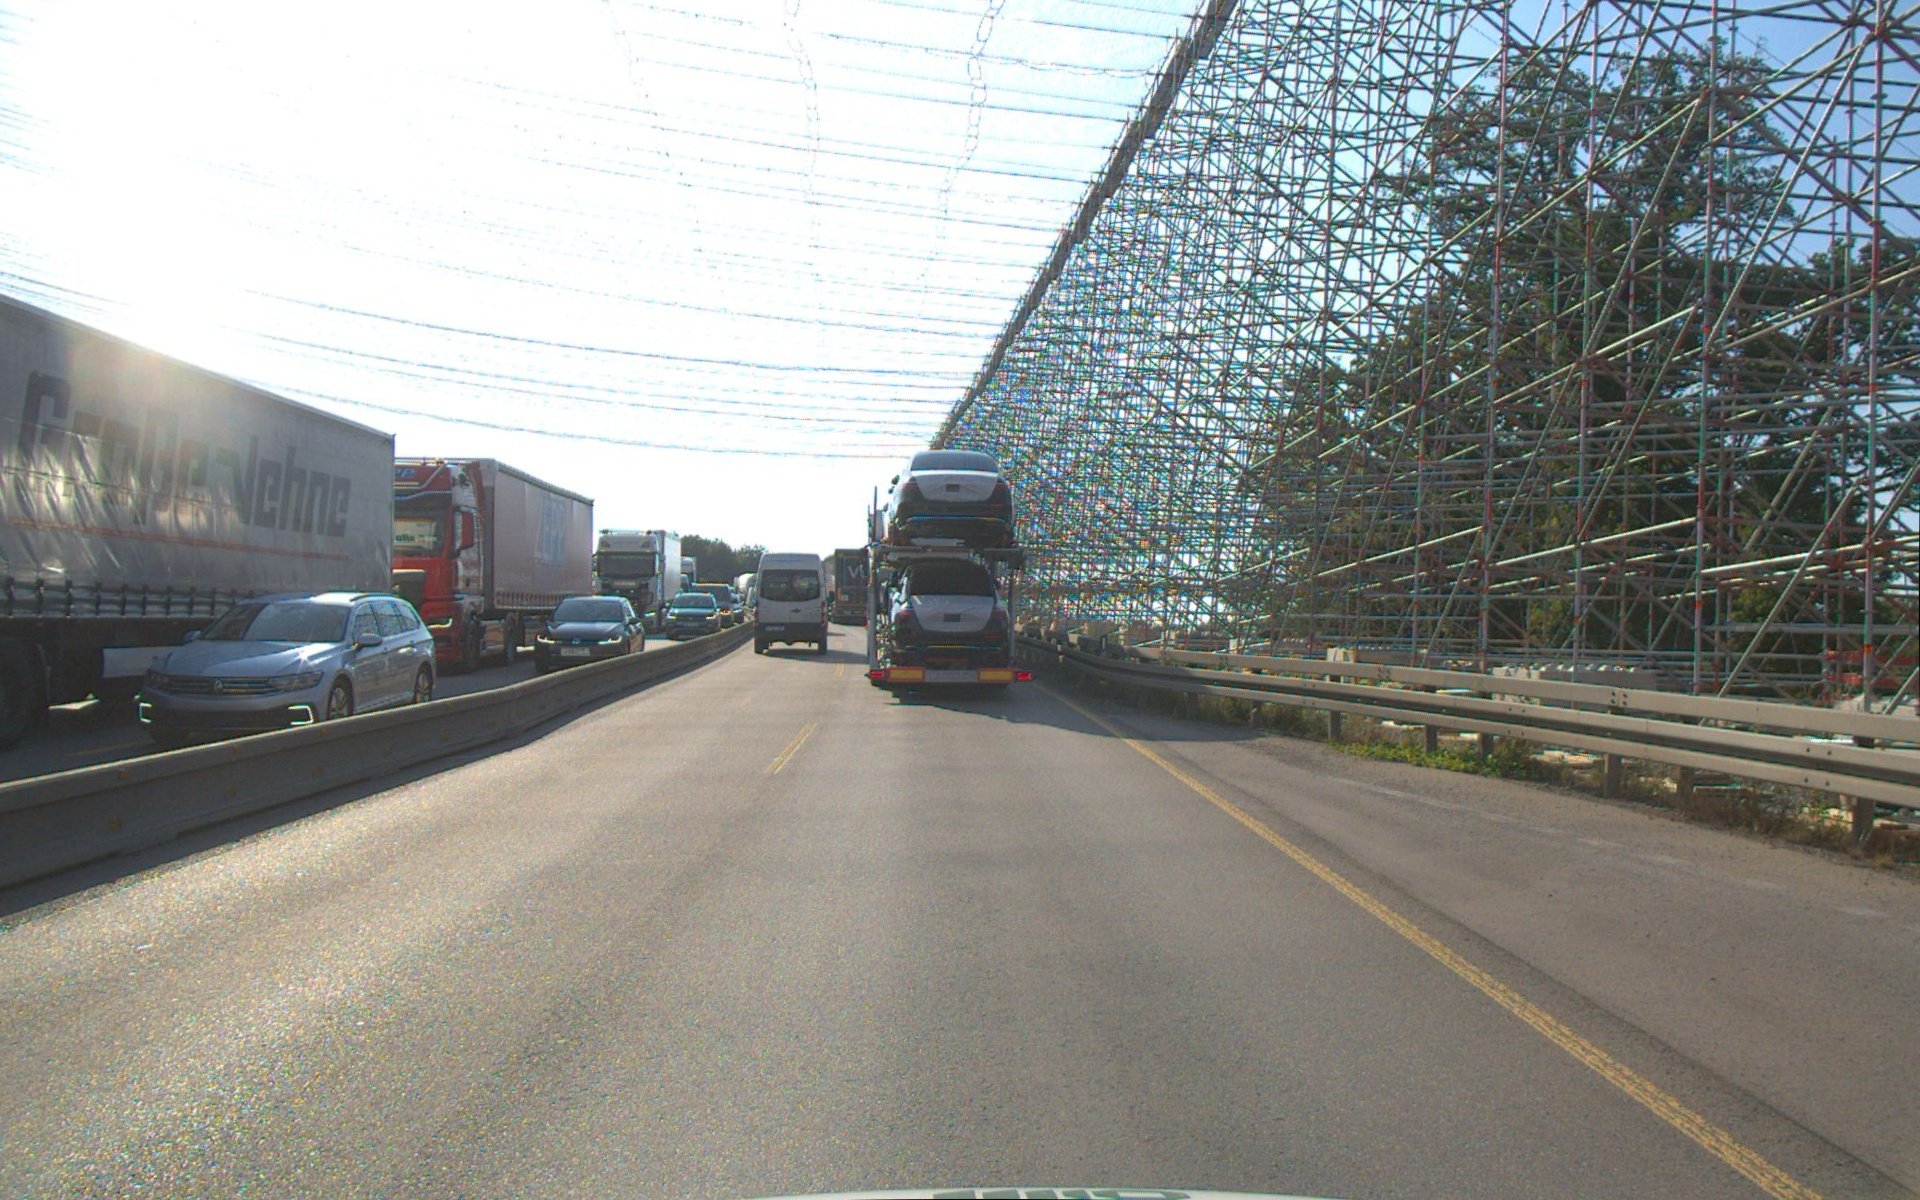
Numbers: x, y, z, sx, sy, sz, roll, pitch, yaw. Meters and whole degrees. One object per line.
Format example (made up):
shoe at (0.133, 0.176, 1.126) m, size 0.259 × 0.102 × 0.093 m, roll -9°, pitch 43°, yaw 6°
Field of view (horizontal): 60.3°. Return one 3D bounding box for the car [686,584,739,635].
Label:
car at (-10.217, 0.379, 68.445) m, size 1.838 × 1.969 × 4.856 m, roll 1°, pitch 0°, yaw -5°

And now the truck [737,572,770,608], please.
truck at (-22.815, -1.118, 182.719) m, size 2.571 × 3.788 × 9.627 m, roll 2°, pitch 0°, yaw -13°

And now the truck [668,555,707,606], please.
truck at (-20.536, -1.440, 124.237) m, size 2.548 × 3.534 × 12.359 m, roll 2°, pitch 0°, yaw -11°

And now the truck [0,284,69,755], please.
truck at (-9.910, -0.741, 12.975) m, size 2.731 × 4.214 × 5.931 m, roll 0°, pitch -1°, yaw -2°

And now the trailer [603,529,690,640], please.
trailer at (-13.525, -0.647, 72.396) m, size 2.603 × 4.307 × 13.899 m, roll 2°, pitch 0°, yaw -7°

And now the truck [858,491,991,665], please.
truck at (-1.001, -0.449, 39.687) m, size 2.825 × 3.767 × 7.319 m, roll 0°, pitch 0°, yaw -4°

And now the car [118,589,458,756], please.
car at (-6.944, 0.673, 17.702) m, size 1.697 × 1.464 × 4.836 m, roll 3°, pitch 0°, yaw -1°

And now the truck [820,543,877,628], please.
truck at (-6.479, -0.812, 94.635) m, size 2.679 × 4.462 × 11.506 m, roll 1°, pitch 0°, yaw -6°

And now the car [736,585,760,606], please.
car at (-17.309, -0.370, 134.860) m, size 1.680 × 1.646 × 3.492 m, roll 1°, pitch 0°, yaw -12°

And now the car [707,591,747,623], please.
car at (-11.629, 0.327, 82.844) m, size 1.750 × 1.528 × 4.748 m, roll 2°, pitch 0°, yaw -6°

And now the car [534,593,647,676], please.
car at (-7.331, 0.644, 33.159) m, size 1.618 × 1.489 × 4.395 m, roll 2°, pitch 0°, yaw -5°

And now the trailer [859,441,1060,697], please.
trailer at (-0.453, -0.402, 32.112) m, size 2.812 × 3.790 × 14.933 m, roll 0°, pitch 0°, yaw -4°

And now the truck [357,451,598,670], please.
truck at (-10.820, -0.711, 38.845) m, size 2.733 × 4.214 × 13.792 m, roll 0°, pitch 0°, yaw -5°

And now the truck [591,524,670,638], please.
truck at (-12.983, -0.718, 65.608) m, size 2.612 × 4.304 × 6.094 m, roll 0°, pitch 0°, yaw -7°

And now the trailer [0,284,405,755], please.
trailer at (-10.143, -0.693, 19.742) m, size 2.742 × 4.214 × 13.960 m, roll 0°, pitch 0°, yaw -2°

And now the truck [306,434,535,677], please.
truck at (-10.242, -0.746, 32.115) m, size 2.733 × 4.214 × 6.672 m, roll 0°, pitch -1°, yaw -5°

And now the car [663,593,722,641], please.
car at (-9.225, 0.561, 57.272) m, size 1.709 × 1.561 × 4.262 m, roll 1°, pitch 0°, yaw -6°

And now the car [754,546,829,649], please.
car at (-4.591, -0.049, 45.008) m, size 1.919 × 2.667 × 3.994 m, roll 0°, pitch -1°, yaw -6°

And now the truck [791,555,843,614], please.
truck at (-11.461, -1.171, 131.138) m, size 3.617 × 4.294 × 13.648 m, roll -2°, pitch 0°, yaw -6°
